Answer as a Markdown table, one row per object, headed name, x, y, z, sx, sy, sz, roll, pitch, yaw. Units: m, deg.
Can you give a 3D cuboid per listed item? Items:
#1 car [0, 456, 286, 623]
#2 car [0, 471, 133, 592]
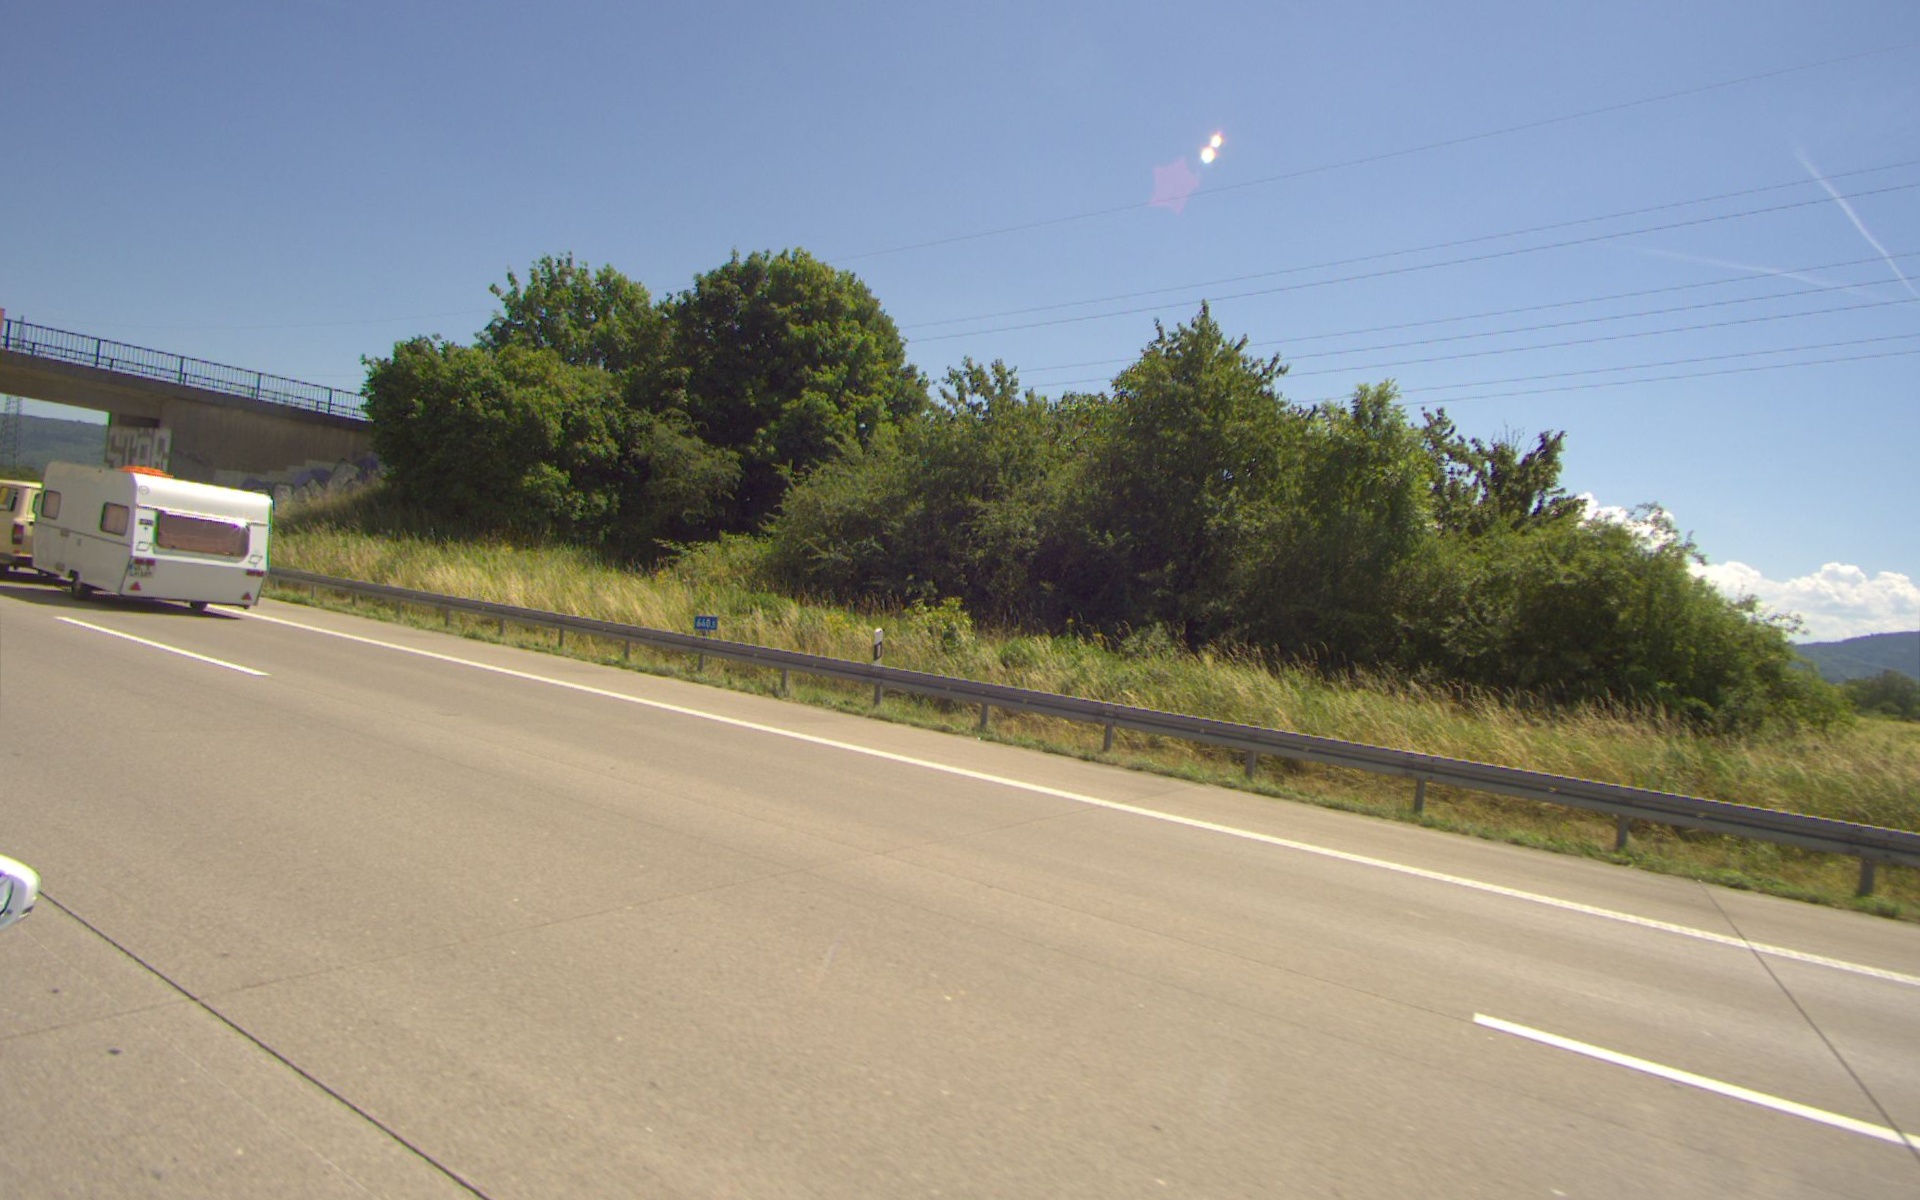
| name | x | y | z | sx | sy | sz | roll | pitch | yaw |
| --- | --- | --- | --- | --- | --- | --- | --- | --- | --- |
| car | -14.752 | -1.131 | 18.062 | 5.425 | 2.374 | 2.138 | 6 | -2 | 32 |
| car | -18.725 | -1.429 | 20.366 | 3.756 | 2.037 | 1.787 | 6 | -2 | 32 |
